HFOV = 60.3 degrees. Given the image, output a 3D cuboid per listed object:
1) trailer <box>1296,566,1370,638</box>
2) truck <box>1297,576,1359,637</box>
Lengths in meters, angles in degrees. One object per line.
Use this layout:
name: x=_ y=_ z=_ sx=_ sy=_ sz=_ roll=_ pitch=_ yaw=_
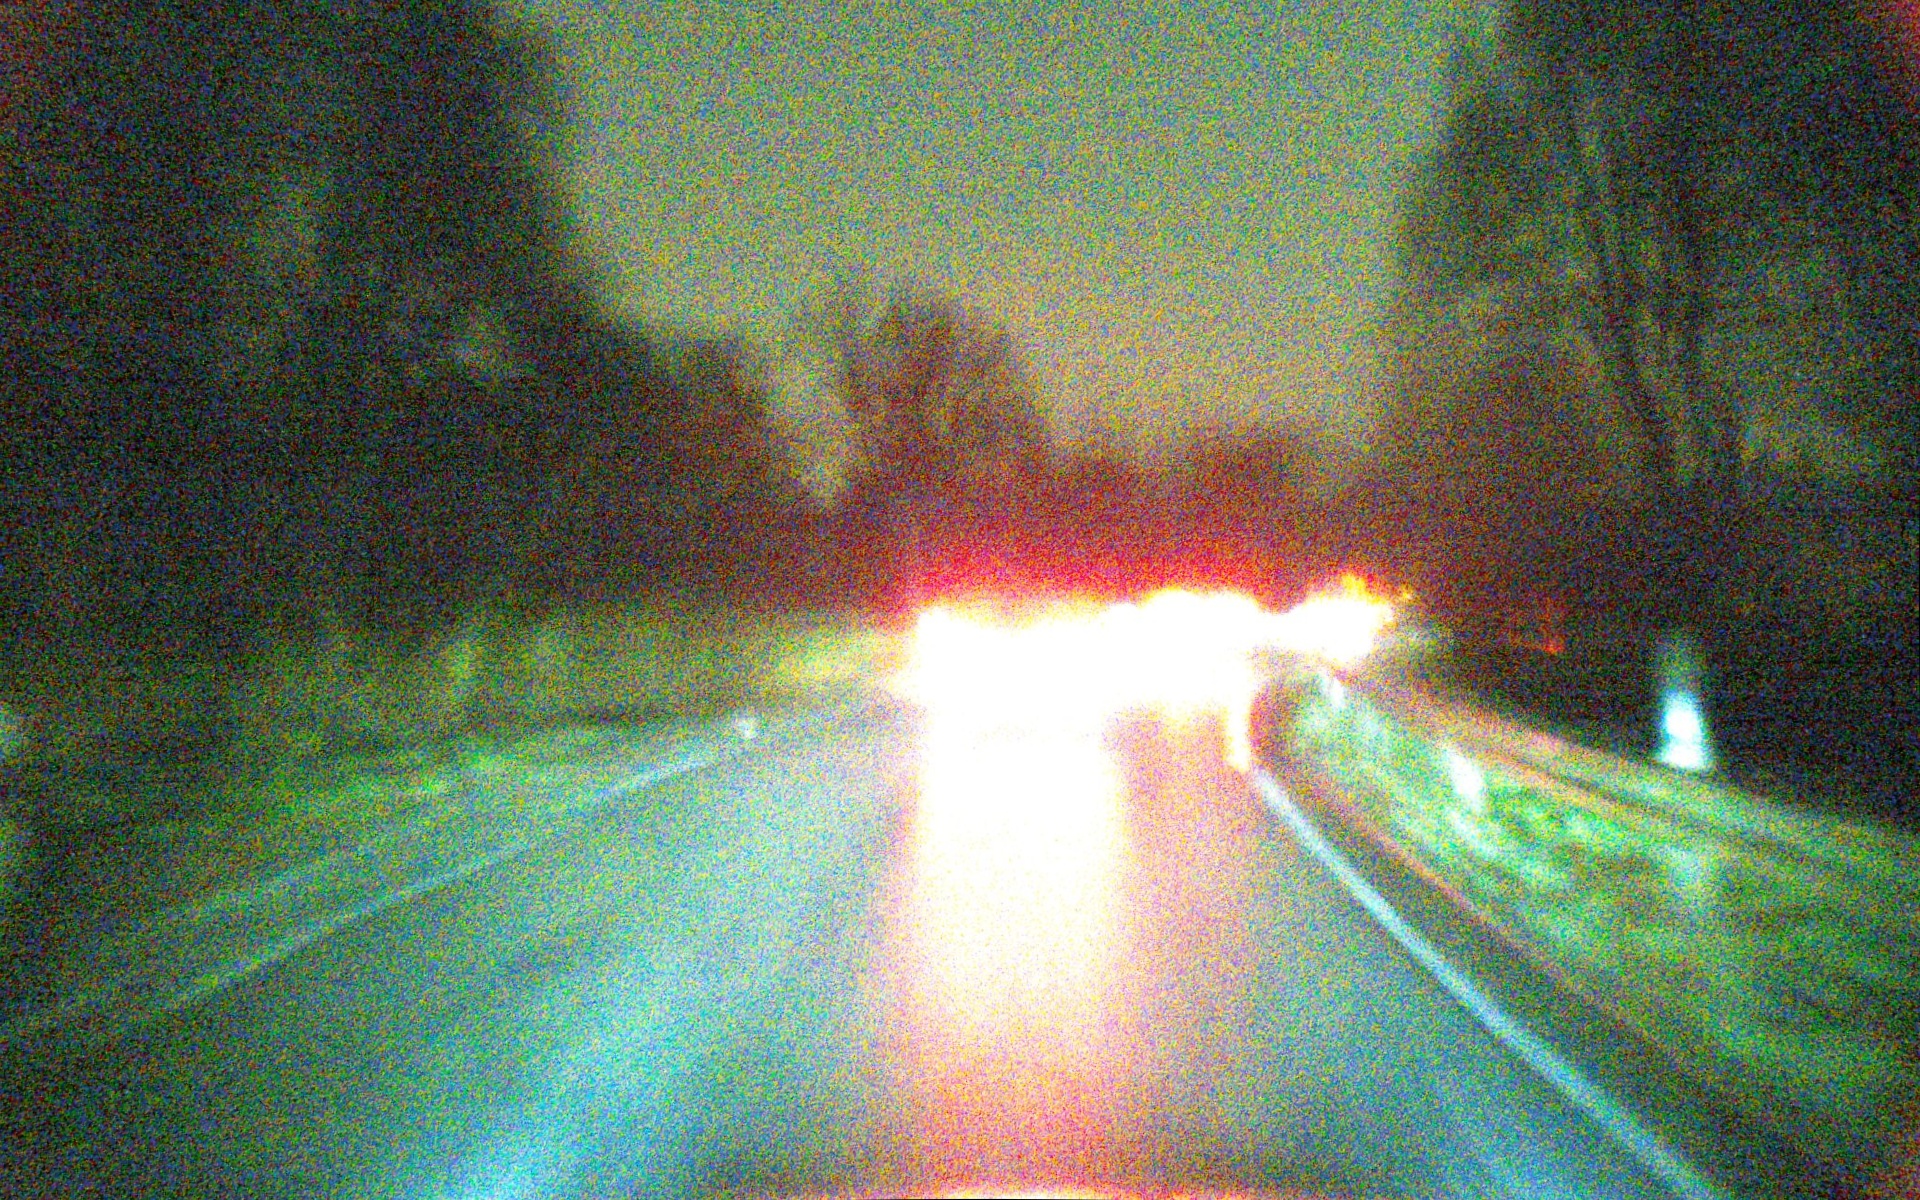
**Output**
trailer: x=12.073 y=0.182 z=54.082 sx=2.034 sy=2.049 sz=10.655 roll=-3 pitch=-2 yaw=11
truck: x=13.459 y=0.292 z=60.456 sx=2.026 sy=2.049 sz=4.884 roll=-3 pitch=-2 yaw=13
